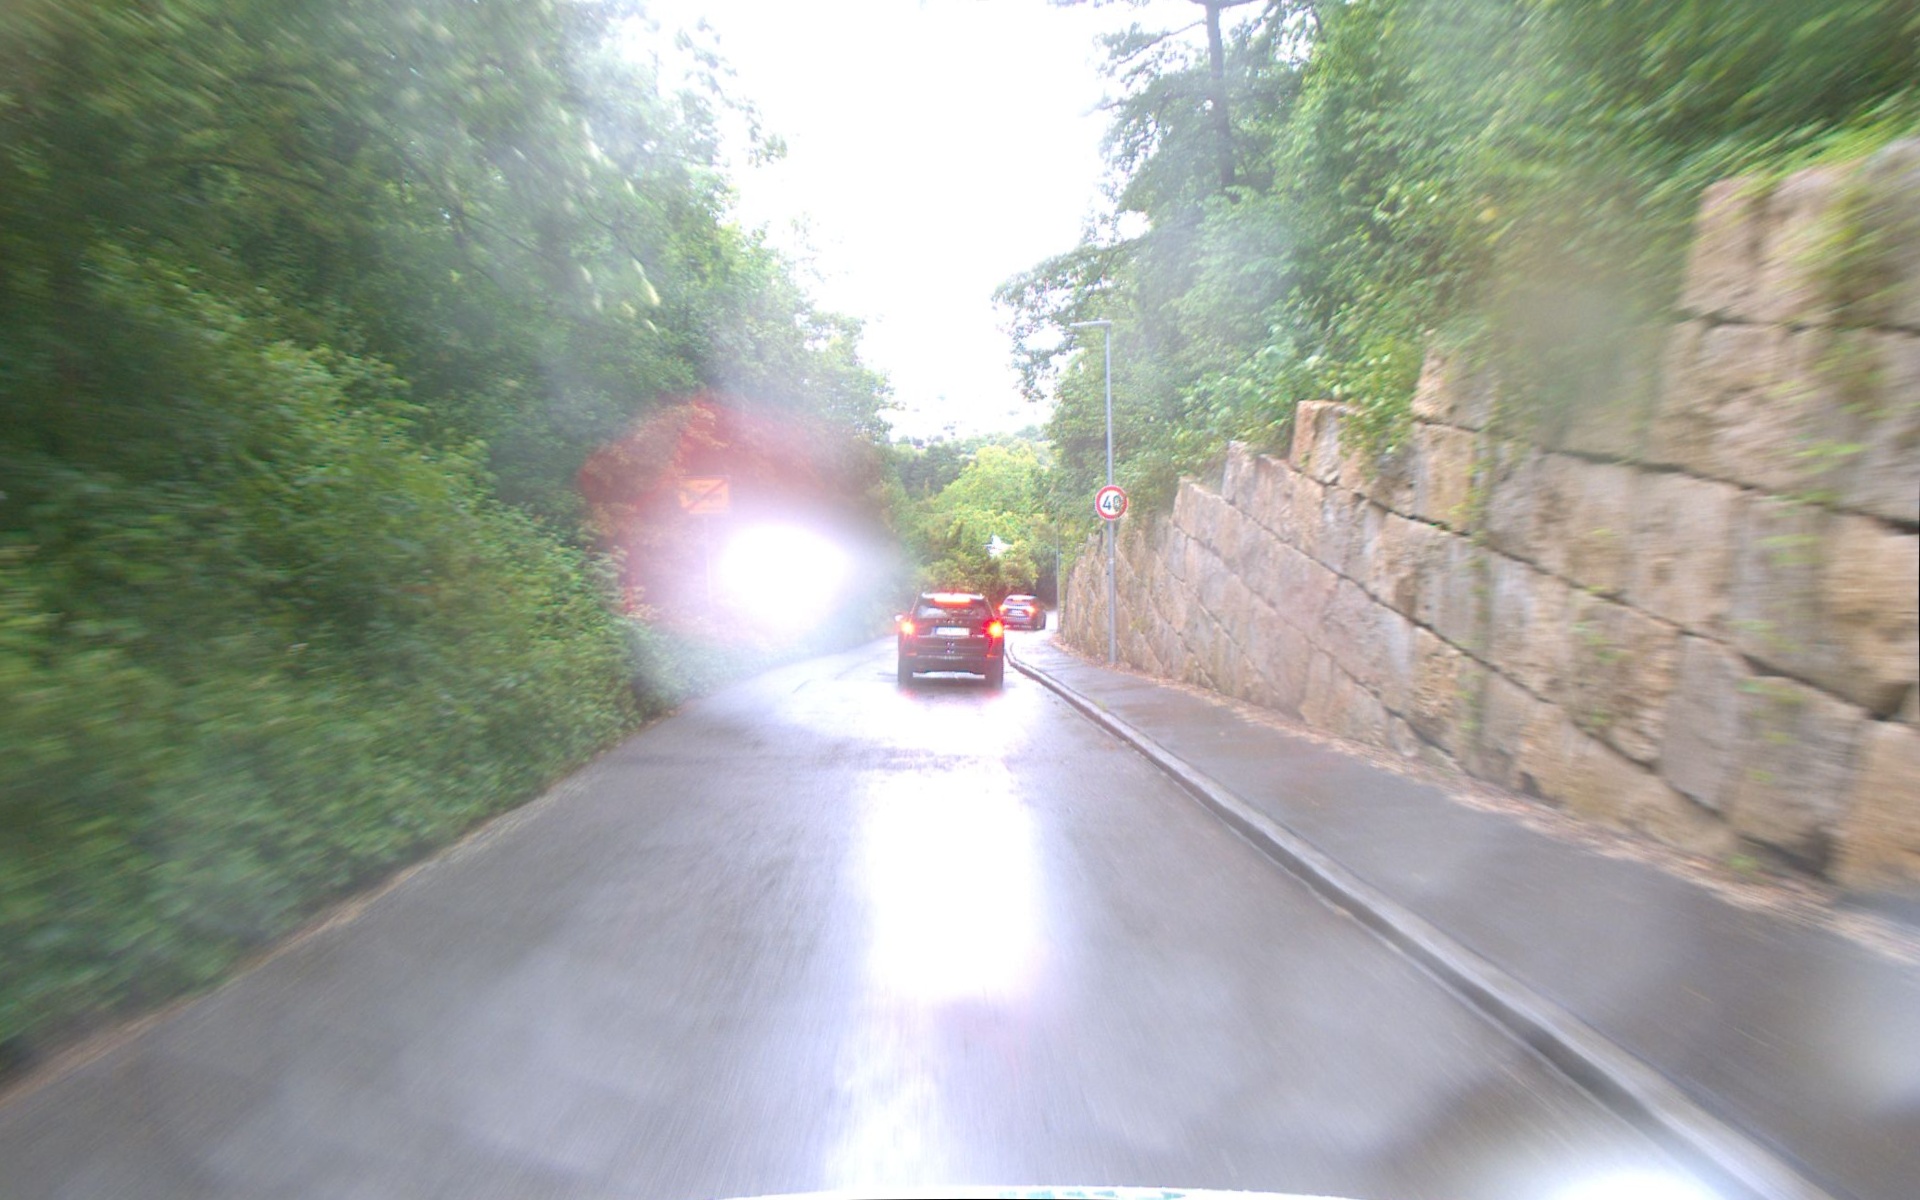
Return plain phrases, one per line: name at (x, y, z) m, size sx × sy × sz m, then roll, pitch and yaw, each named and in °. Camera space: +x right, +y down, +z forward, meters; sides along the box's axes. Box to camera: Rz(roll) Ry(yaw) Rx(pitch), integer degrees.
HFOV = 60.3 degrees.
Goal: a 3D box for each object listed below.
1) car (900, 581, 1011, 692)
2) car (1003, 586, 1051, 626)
car at (-0.140, 0.548, 27.778) m, size 1.665 × 1.475 × 4.000 m, roll -1°, pitch 4°, yaw -3°
car at (3.176, 0.271, 77.511) m, size 1.823 × 1.774 × 4.003 m, roll 1°, pitch 0°, yaw 8°
